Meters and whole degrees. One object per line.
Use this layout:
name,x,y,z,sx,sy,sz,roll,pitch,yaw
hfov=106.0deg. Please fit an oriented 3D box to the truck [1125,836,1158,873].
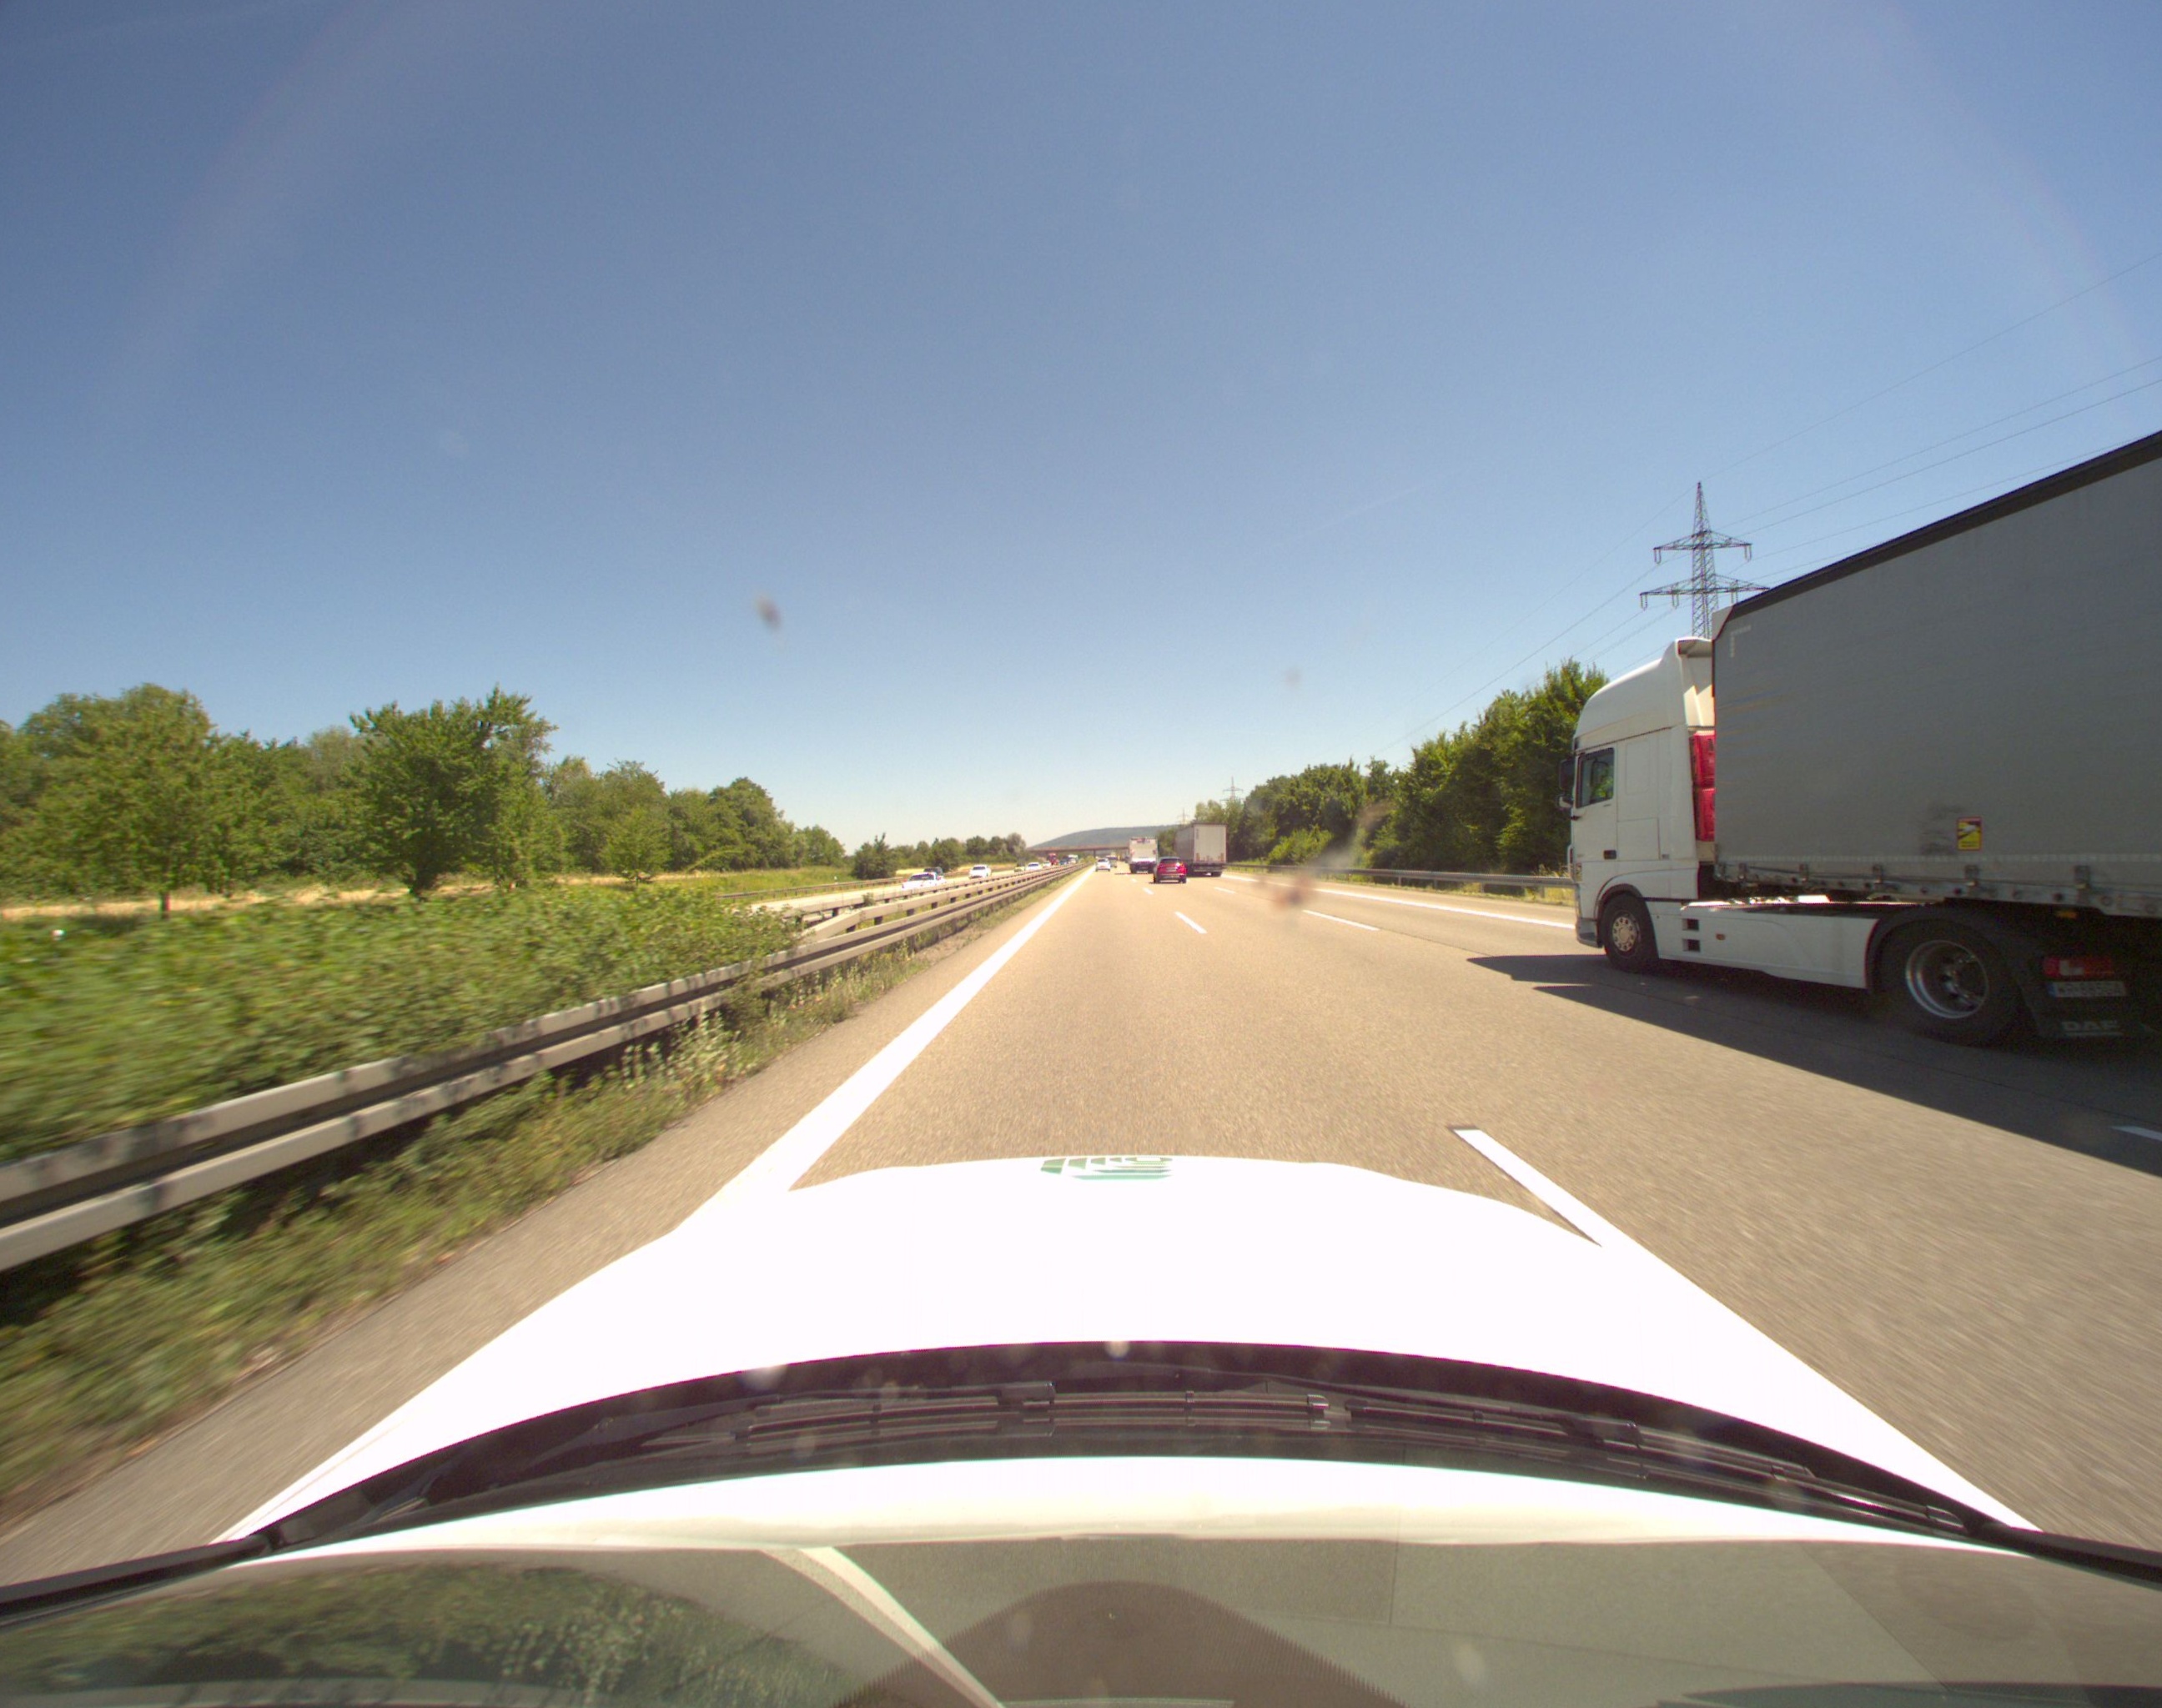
truck,5.812,0.103,79.696,2.772,3.373,8.129,-1,-1,1

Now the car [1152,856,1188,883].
car,5.295,0.890,48.648,1.796,1.545,4.001,-1,0,2

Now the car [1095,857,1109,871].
car,2.468,1.154,95.911,1.601,1.467,4.002,-2,0,2

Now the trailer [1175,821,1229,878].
trailer,9.759,-0.278,67.299,2.778,4.164,13.580,-2,0,2

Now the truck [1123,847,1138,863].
truck,13.943,0.369,230.993,3.508,4.416,14.596,-3,0,2

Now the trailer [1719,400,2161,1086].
trailer,7.755,-0.691,1.759,2.726,4.106,13.126,-1,0,2

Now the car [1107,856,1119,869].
car,5.013,1.303,127.605,1.754,1.850,4.002,-2,0,2

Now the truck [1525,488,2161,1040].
truck,7.991,-0.673,9.160,2.726,4.120,6.126,-1,0,1

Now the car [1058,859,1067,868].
car,-4.014,2.043,178.750,1.761,1.750,3.987,-3,0,1

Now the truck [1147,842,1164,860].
truck,13.846,-0.523,151.888,2.213,3.209,10.388,-2,0,2

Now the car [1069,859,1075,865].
car,-2.658,2.398,241.952,1.802,1.536,3.962,-3,0,1

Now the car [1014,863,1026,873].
car,-9.685,2.164,129.764,1.576,1.428,3.478,-3,0,2

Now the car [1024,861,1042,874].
car,-5.966,1.724,102.497,1.788,1.492,4.239,-4,0,2

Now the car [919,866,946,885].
car,-14.314,2.035,78.600,1.726,1.594,3.904,-4,0,2

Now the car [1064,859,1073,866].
car,-3.151,2.154,203.097,1.952,1.772,4.444,-3,0,2

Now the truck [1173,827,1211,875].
truck,10.010,-0.247,73.790,2.784,4.164,5.725,-2,0,2

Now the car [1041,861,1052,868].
car,-7.634,2.291,180.640,1.872,1.566,4.193,-3,0,2

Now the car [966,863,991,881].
car,-10.289,1.805,82.369,1.829,1.585,3.890,-4,0,2

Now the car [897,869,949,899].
car,-8.176,1.530,42.506,1.682,1.314,4.086,-4,0,2
